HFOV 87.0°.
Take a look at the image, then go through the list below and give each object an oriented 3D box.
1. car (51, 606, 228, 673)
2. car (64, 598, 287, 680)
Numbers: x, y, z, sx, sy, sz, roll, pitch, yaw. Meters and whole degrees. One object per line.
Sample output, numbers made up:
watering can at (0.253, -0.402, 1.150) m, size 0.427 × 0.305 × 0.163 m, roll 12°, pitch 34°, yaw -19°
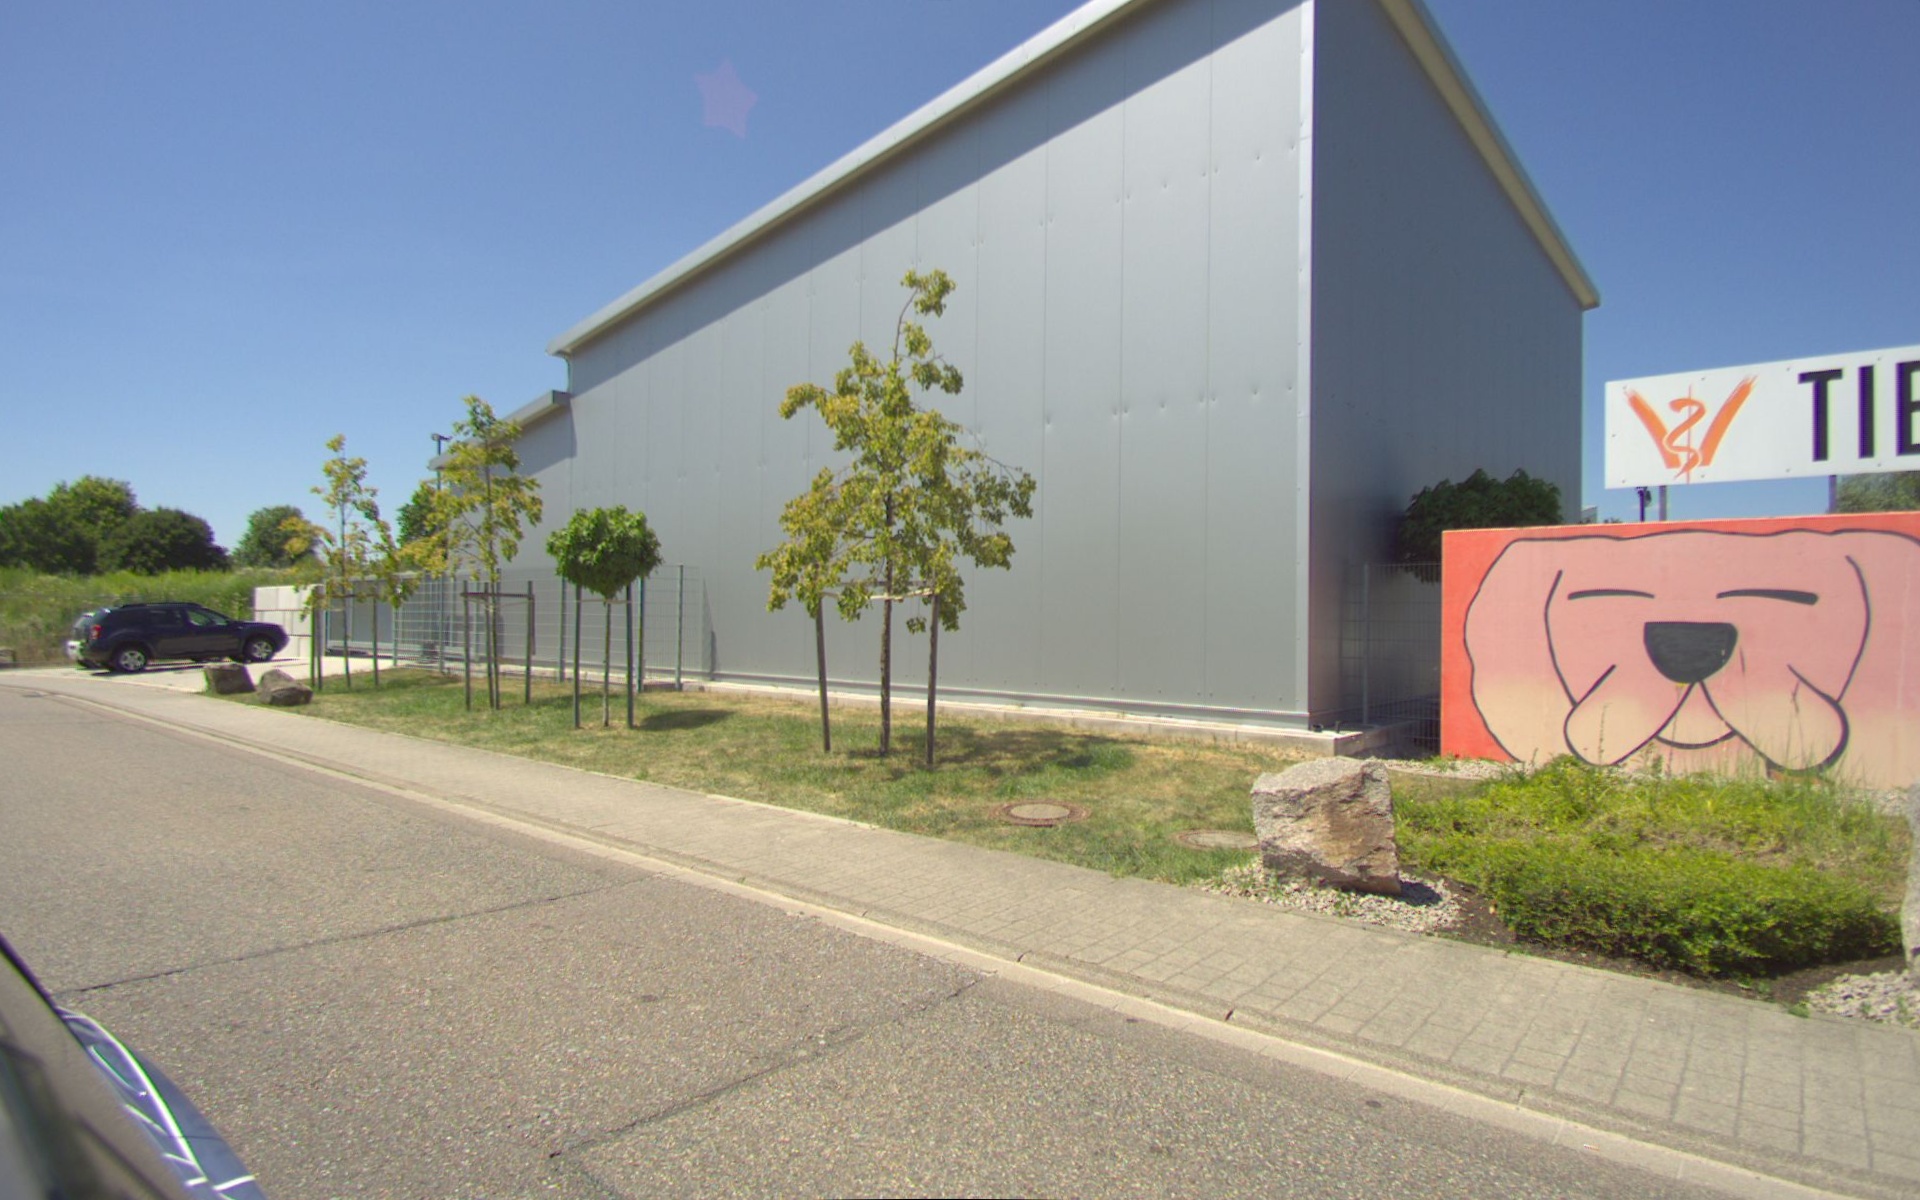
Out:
car at (-21.916, 1.001, 27.127) m, size 1.779 × 1.472 × 3.329 m, roll 0°, pitch 3°, yaw 38°
car at (-19.734, 0.894, 25.604) m, size 1.780 × 1.671 × 4.121 m, roll 0°, pitch 3°, yaw 40°
